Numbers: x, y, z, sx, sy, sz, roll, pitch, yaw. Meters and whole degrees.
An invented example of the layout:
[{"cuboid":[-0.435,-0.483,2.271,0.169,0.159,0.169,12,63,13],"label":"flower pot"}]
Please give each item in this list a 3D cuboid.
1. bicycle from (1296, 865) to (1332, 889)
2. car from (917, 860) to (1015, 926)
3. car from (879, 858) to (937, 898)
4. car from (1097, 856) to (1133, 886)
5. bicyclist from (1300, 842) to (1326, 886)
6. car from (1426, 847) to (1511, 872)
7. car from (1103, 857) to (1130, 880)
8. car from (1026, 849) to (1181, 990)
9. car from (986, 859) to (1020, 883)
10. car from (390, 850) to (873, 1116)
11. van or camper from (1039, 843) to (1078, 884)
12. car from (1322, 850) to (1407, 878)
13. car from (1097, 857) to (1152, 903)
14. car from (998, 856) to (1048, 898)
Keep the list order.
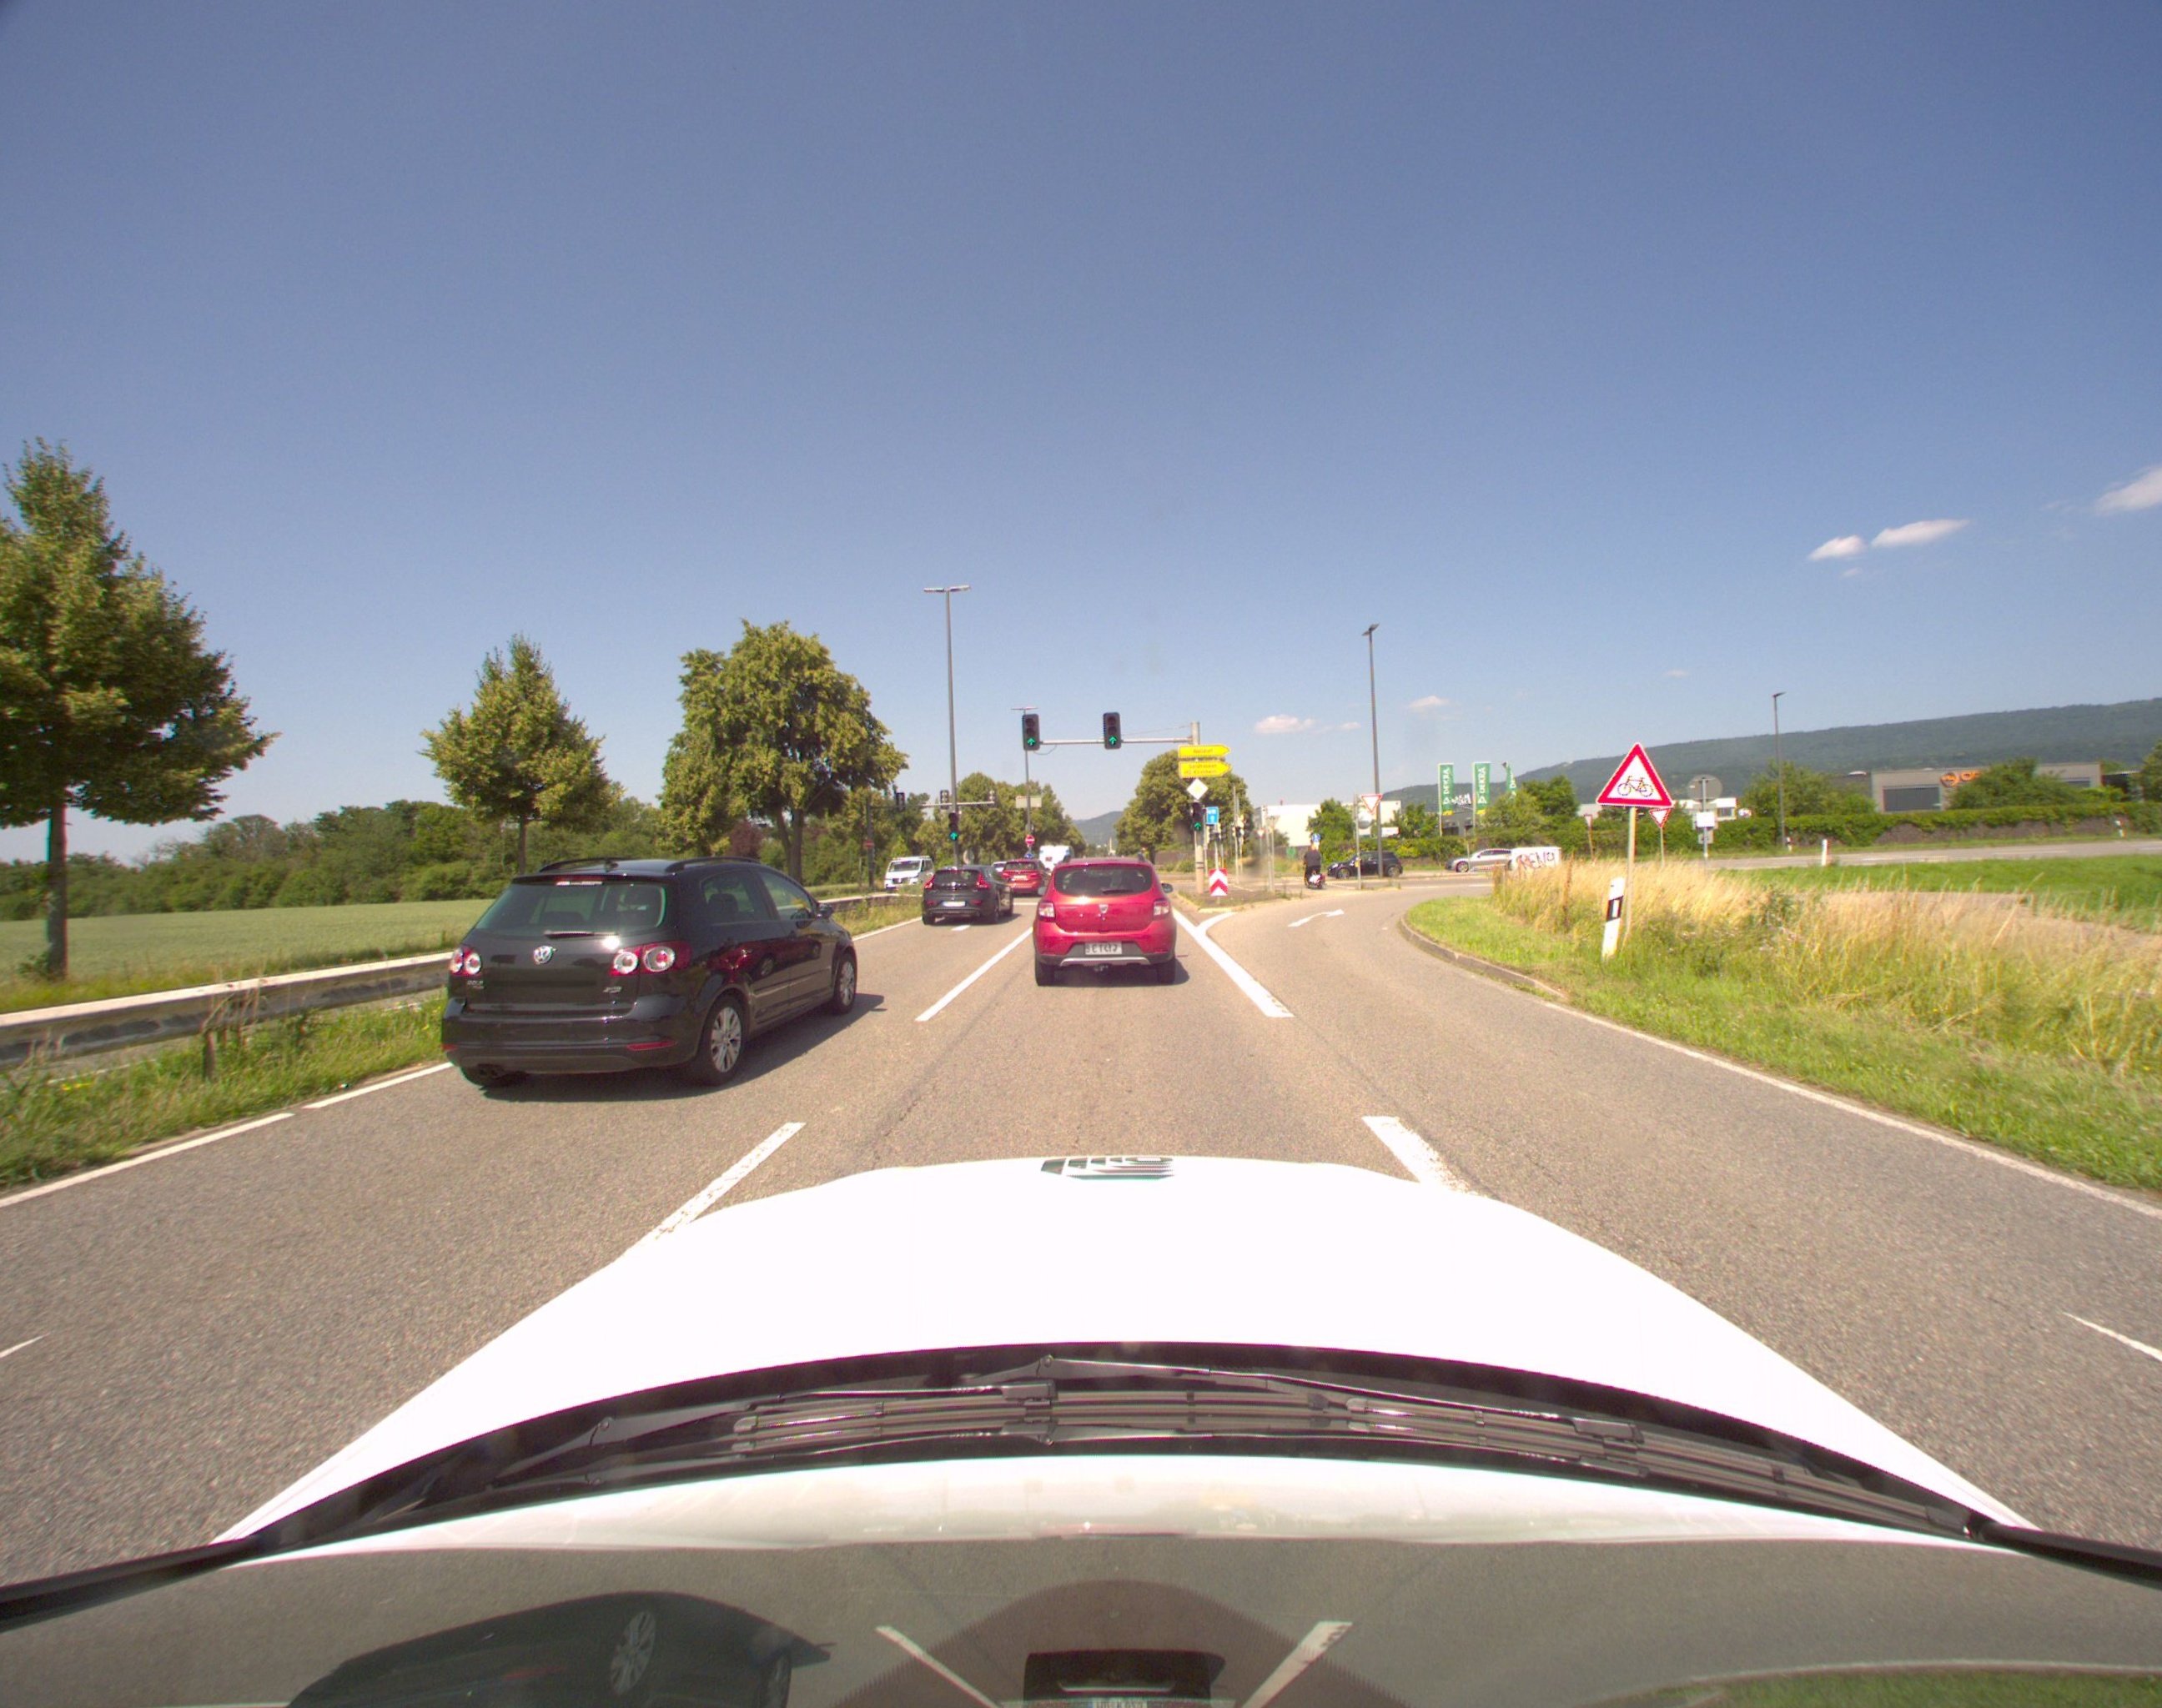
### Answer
[{"cuboid":[9.772,0.943,34.249,0.758,0.915,2.780,-2,0,1],"label":"bicycle"},{"cuboid":[-2.785,0.911,20.612,1.695,1.442,3.958,-1,0,3],"label":"car"},{"cuboid":[-9.426,1.270,44.798,1.986,1.980,5.017,-2,0,1],"label":"car"},{"cuboid":[1.800,0.874,42.670,1.742,1.458,3.680,-1,0,4],"label":"car"},{"cuboid":[9.733,0.418,34.165,0.799,1.771,0.809,-2,0,1],"label":"bicyclist"},{"cuboid":[23.071,0.328,48.651,4.329,1.327,1.815,-2,0,18],"label":"car"},{"cuboid":[2.495,0.973,56.676,1.742,1.458,3.680,-1,0,4],"label":"car"},{"cuboid":[0.379,0.757,11.108,1.742,1.576,3.680,-1,0,4],"label":"car"},{"cuboid":[-5.850,1.249,61.774,1.986,1.670,4.002,-2,0,2],"label":"car"},{"cuboid":[-3.206,0.781,6.832,1.716,1.575,3.895,-1,0,3],"label":"car"},{"cuboid":[-1.319,0.574,49.701,2.172,2.303,4.826,-1,0,0],"label":"van or camper"},{"cuboid":[14.749,0.513,42.538,3.959,1.327,1.813,-2,0,13],"label":"car"},{"cuboid":[1.534,0.850,28.126,1.742,1.458,3.680,-1,0,4],"label":"car"},{"cuboid":[-2.346,0.892,33.839,1.718,1.600,3.956,-2,0,1],"label":"car"}]
